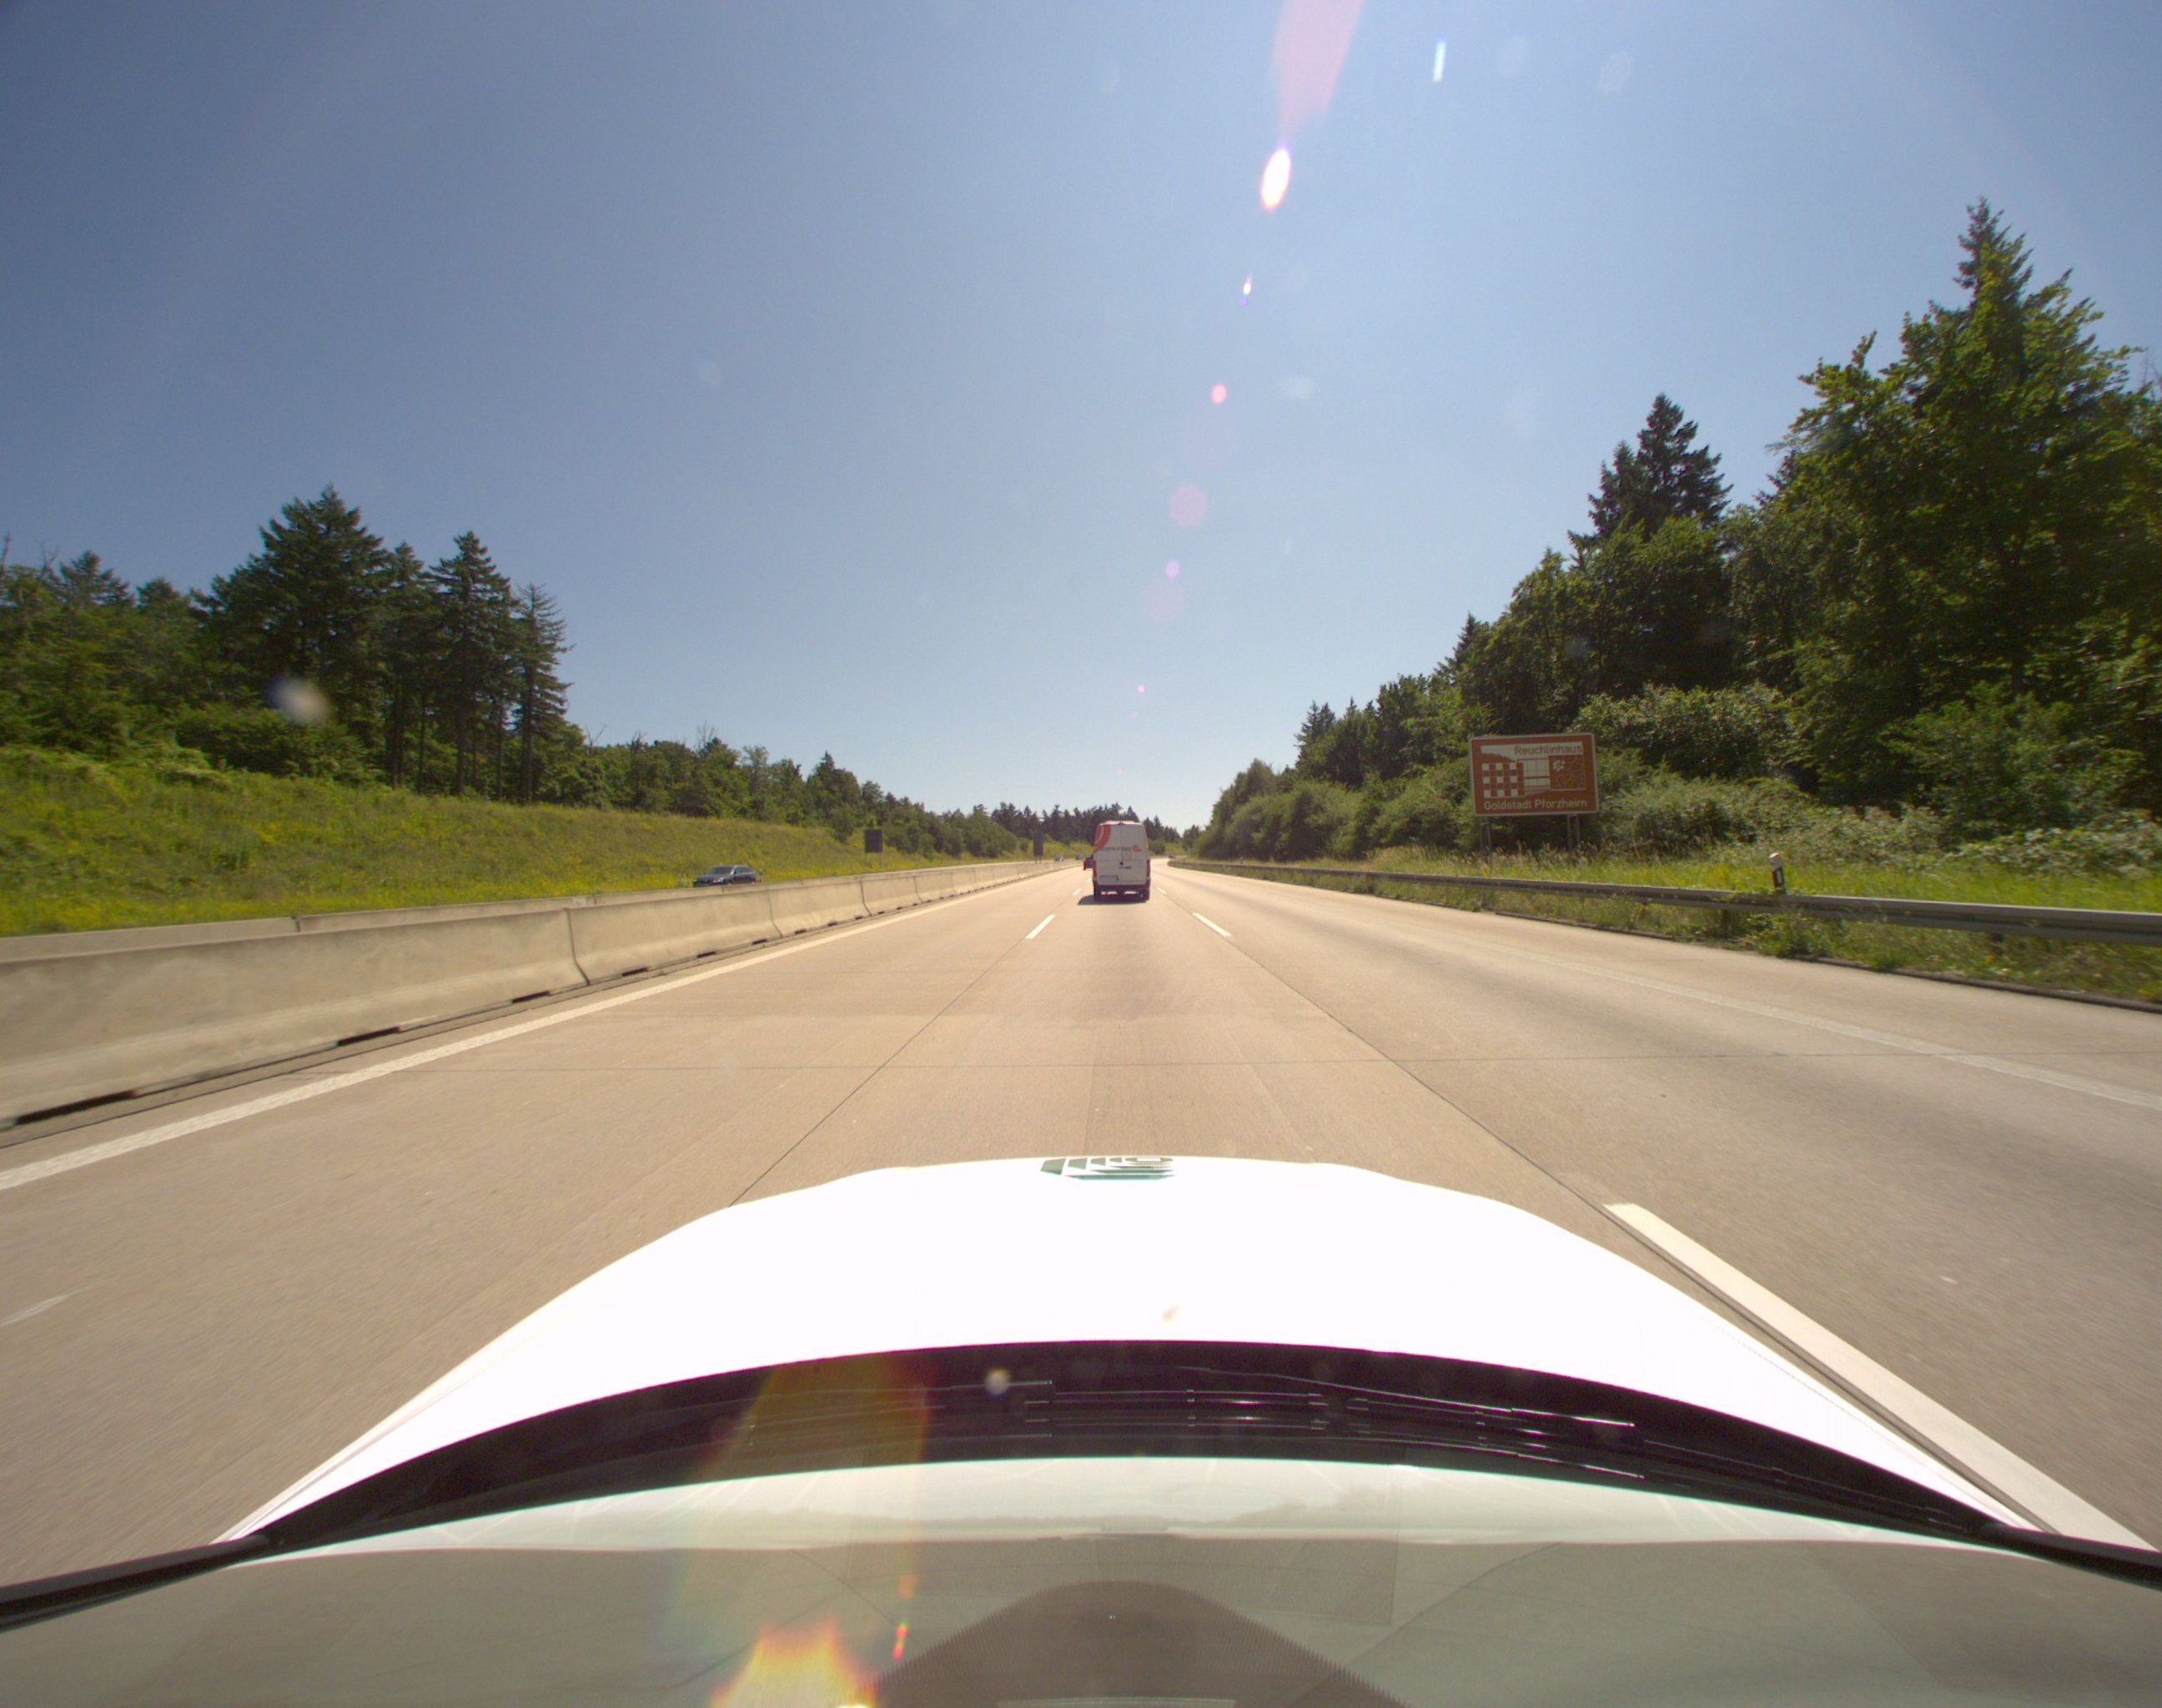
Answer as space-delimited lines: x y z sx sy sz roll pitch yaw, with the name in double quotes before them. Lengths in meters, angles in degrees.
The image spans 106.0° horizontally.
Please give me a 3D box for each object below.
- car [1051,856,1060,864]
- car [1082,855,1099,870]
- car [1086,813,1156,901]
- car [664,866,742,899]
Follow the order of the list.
"car" -6.046 1.414 195.115 1.986 1.706 4.001 -1 -1 2
"car" 1.162 1.011 97.588 1.986 1.794 4.001 -1 -1 2
"car" 1.391 0.116 29.309 2.218 2.844 5.456 -1 0 2
"car" -19.696 1.456 42.627 1.985 1.583 4.044 -1 -1 2
